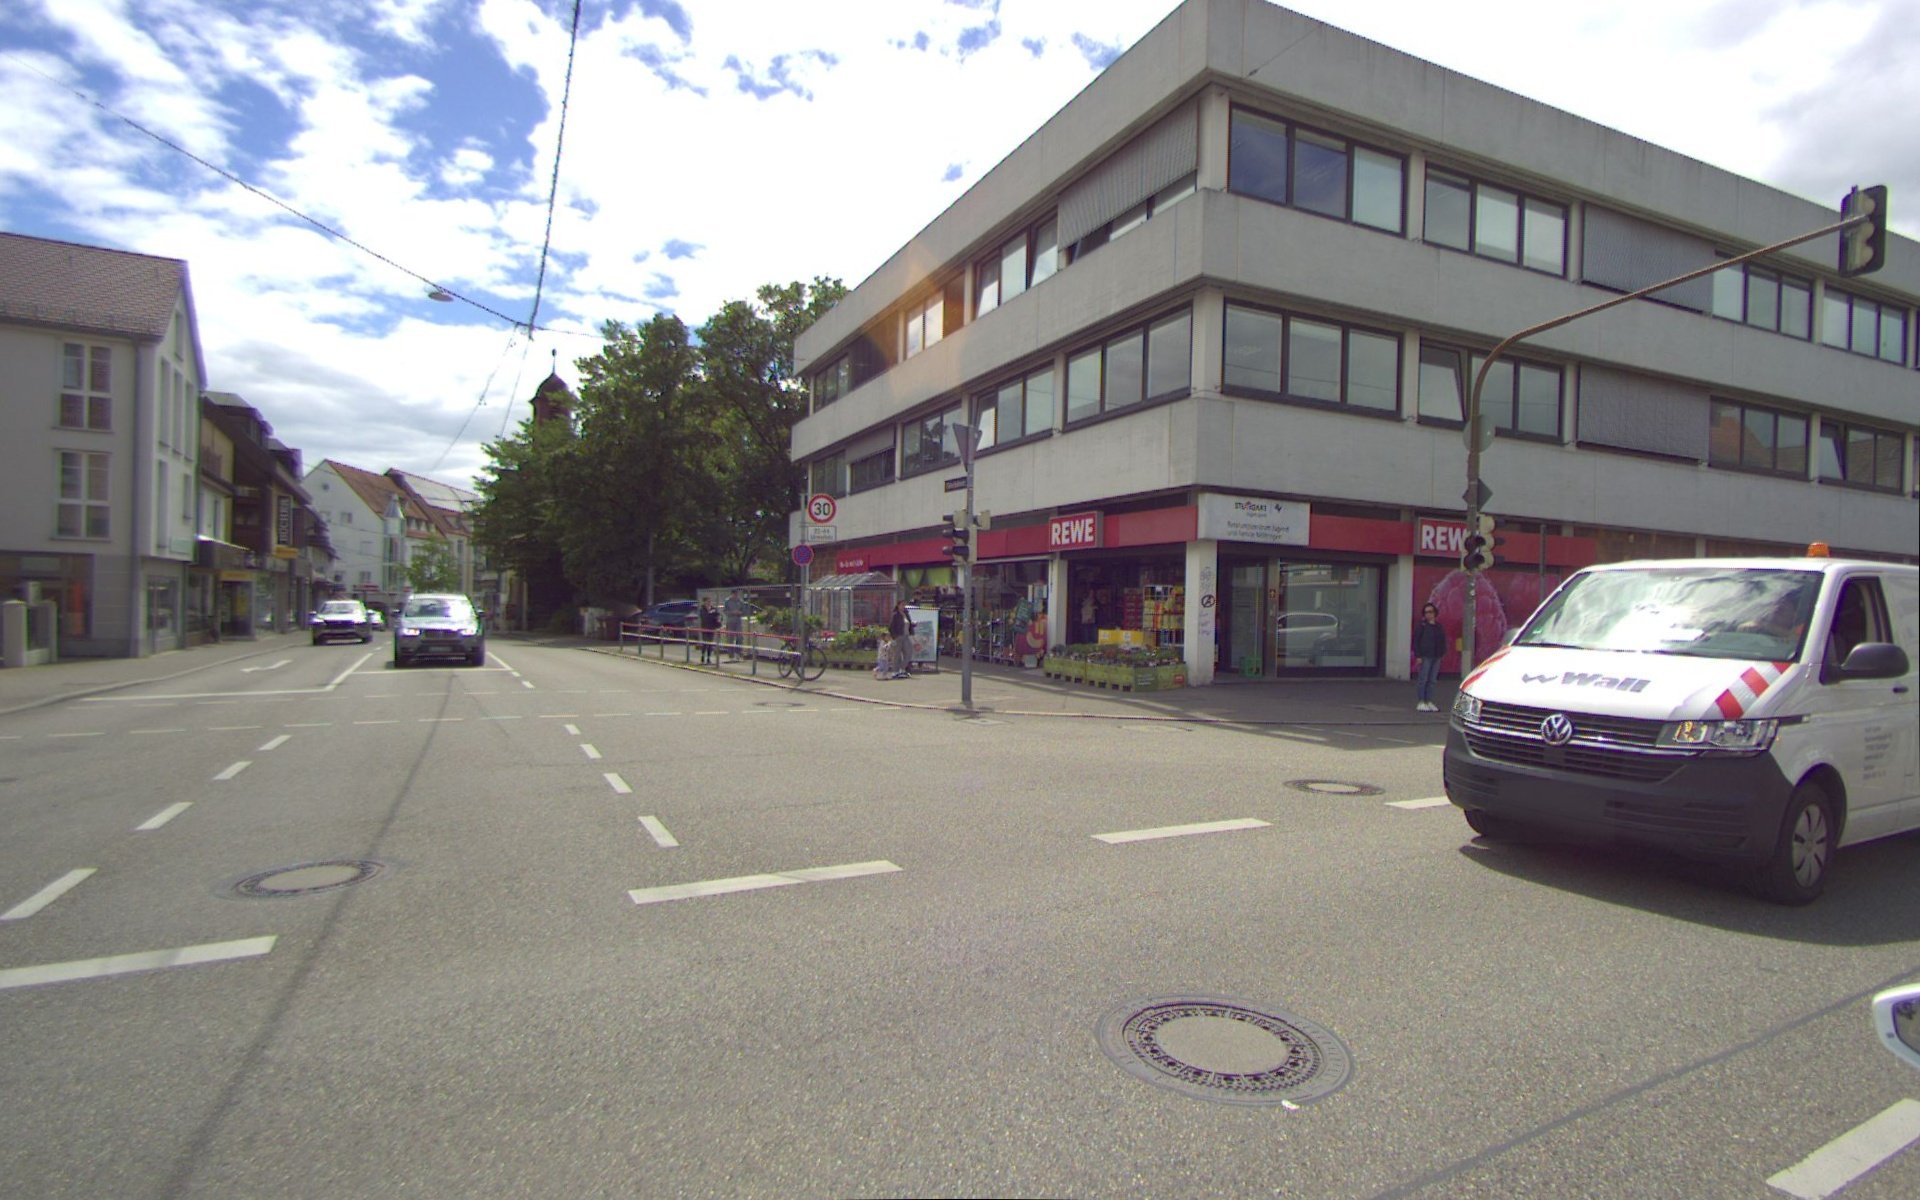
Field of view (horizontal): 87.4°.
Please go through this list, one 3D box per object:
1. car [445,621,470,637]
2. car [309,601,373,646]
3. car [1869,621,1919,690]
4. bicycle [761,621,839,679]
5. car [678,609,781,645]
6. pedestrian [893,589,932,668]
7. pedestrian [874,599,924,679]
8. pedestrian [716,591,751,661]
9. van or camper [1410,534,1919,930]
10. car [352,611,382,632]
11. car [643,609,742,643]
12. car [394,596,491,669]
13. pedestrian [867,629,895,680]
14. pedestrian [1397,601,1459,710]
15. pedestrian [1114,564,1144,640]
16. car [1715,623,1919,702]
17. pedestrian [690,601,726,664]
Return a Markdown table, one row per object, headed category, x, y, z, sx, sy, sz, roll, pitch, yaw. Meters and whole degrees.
| category | x | y | z | sx | sy | sz | roll | pitch | yaw |
| --- | --- | --- | --- | --- | --- | --- | --- | --- | --- |
| car | -47.825 | 2.744 | 95.644 | 1.474 | 1.499 | 3.162 | 1 | -1 | -39 |
| car | -23.556 | 0.879 | 38.332 | 1.898 | 1.595 | 4.296 | 1 | -1 | -29 |
| car | 23.661 | 1.348 | 24.295 | 2.909 | 1.564 | 1.600 | 1 | 2 | -30 |
| bicycle | -3.343 | 1.022 | 20.893 | 0.770 | 1.157 | 1.866 | 2 | -2 | -40 |
| car | -8.871 | 1.015 | 38.670 | 3.670 | 1.338 | 1.775 | 1 | -1 | -21 |
| pedestrian | -1.111 | 0.666 | 23.487 | 0.612 | 1.799 | 0.554 | 3 | 0 | 35 |
| pedestrian | -1.272 | 0.804 | 21.119 | 0.712 | 1.618 | 0.695 | 3 | 0 | 33 |
| pedestrian | -6.100 | 0.703 | 27.090 | 0.671 | 1.860 | 0.727 | 1 | 0 | -38 |
| van or camper | 5.361 | 0.640 | 6.857 | 4.637 | 1.923 | 1.855 | 0 | 1 | -31 |
| car | -45.665 | 1.635 | 77.450 | 1.898 | 1.595 | 4.296 | 1 | -1 | -29 |
| car | -10.727 | 1.028 | 40.266 | 3.670 | 1.339 | 1.775 | 1 | -1 | -21 |
| car | -12.444 | 0.736 | 24.045 | 1.898 | 1.595 | 3.969 | 1 | -1 | -29 |
| pedestrian | -1.620 | 1.116 | 20.588 | 0.357 | 1.018 | 0.384 | 3 | 0 | 34 |
| pedestrian | 7.340 | 0.859 | 15.756 | 0.652 | 1.663 | 0.616 | 1 | 0 | -29 |
| pedestrian | 4.044 | 0.058 | 23.986 | 0.381 | 1.762 | 0.779 | 3 | 0 | 31 |
| car | 18.509 | 1.276 | 21.566 | 4.385 | 1.463 | 1.897 | 1 | 1 | -26 |
| pedestrian | -6.568 | 0.843 | 26.150 | 0.671 | 1.598 | 0.727 | 1 | 0 | -38 |
